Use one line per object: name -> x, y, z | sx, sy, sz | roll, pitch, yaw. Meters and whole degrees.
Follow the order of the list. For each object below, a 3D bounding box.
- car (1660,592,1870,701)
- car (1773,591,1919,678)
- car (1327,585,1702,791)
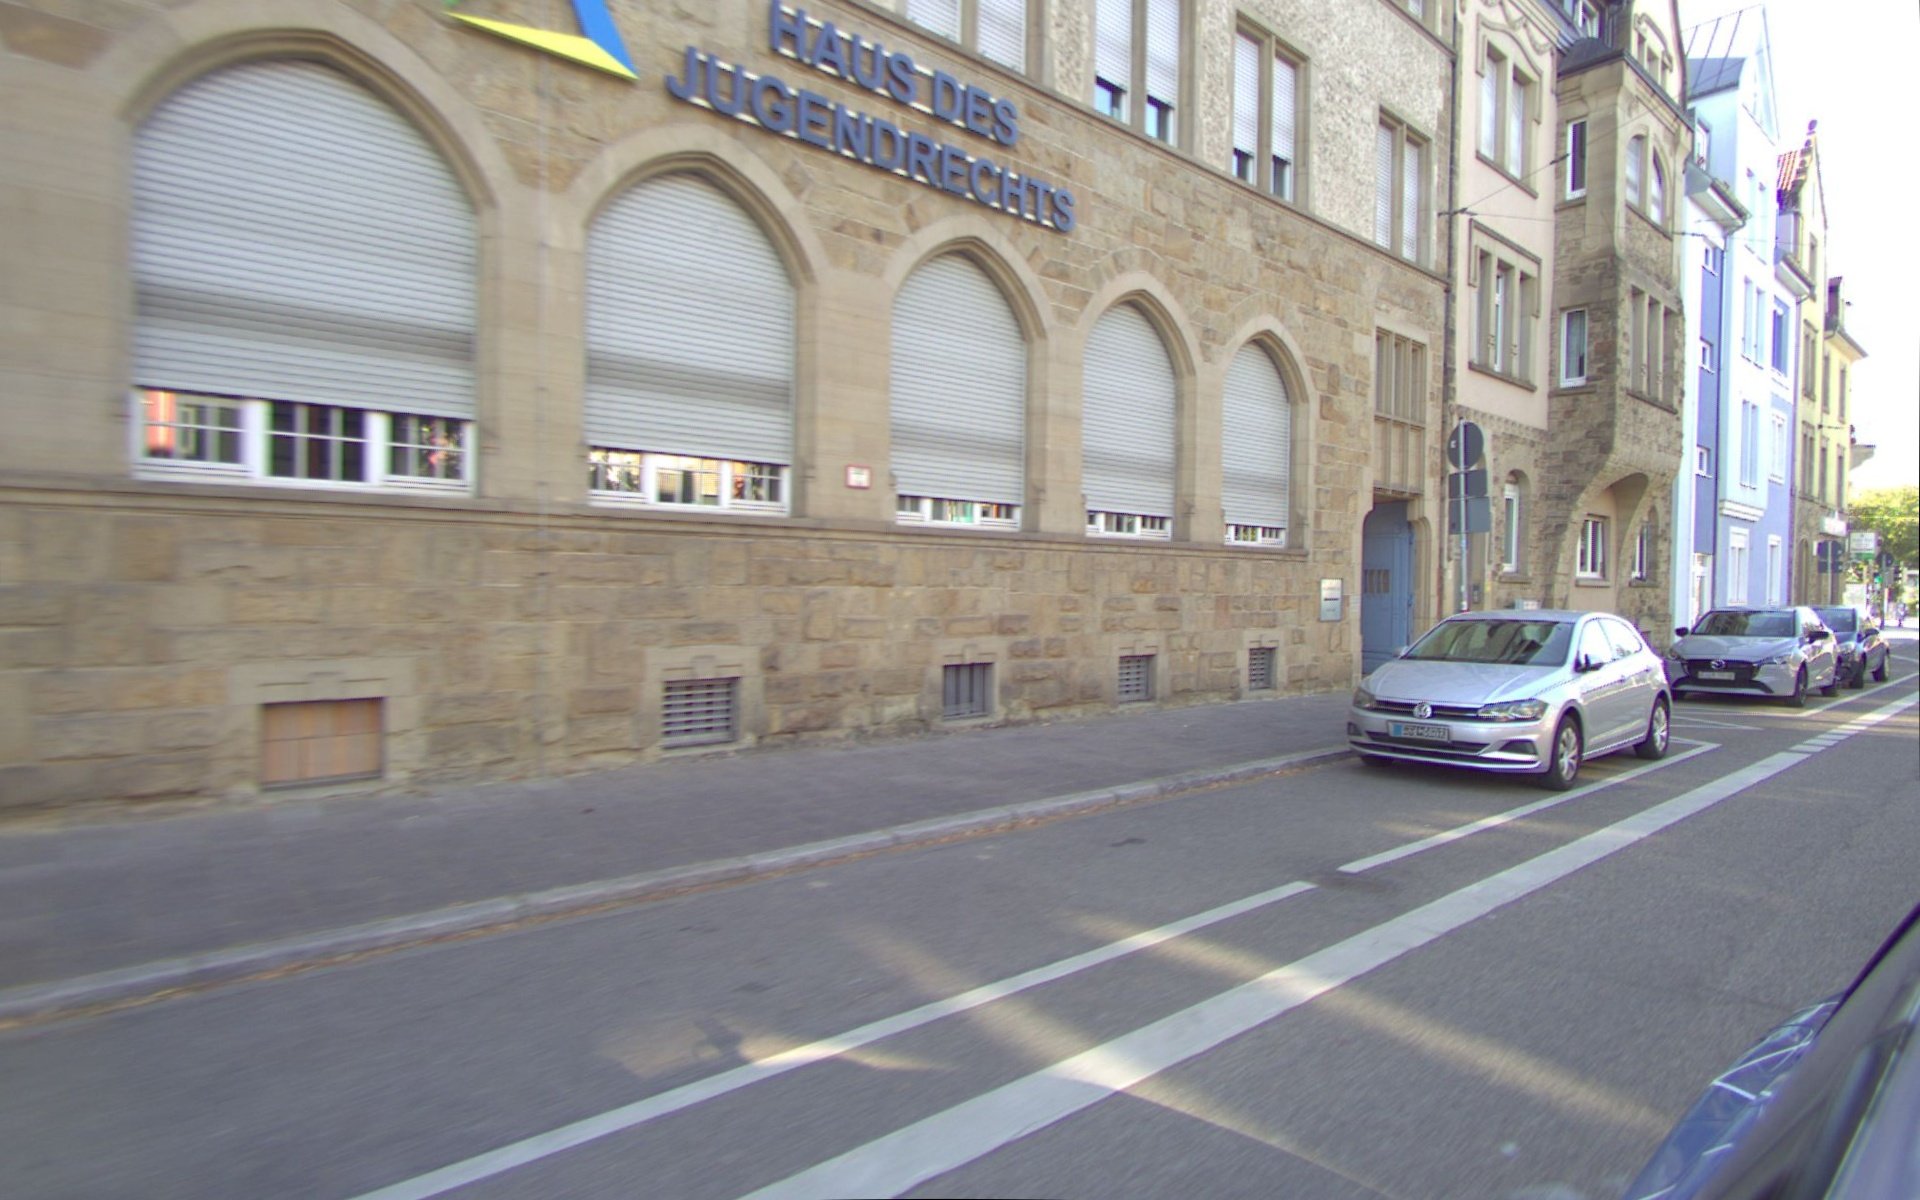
car -> 12.864, 0.640, 16.091 | 4.120, 1.520, 1.756 | 0, -1, -39
car -> 17.128, 0.585, 19.475 | 3.930, 1.501, 1.658 | 0, 0, -41
car -> 5.329, 0.651, 9.494 | 4.151, 1.520, 1.717 | 0, -1, -40
